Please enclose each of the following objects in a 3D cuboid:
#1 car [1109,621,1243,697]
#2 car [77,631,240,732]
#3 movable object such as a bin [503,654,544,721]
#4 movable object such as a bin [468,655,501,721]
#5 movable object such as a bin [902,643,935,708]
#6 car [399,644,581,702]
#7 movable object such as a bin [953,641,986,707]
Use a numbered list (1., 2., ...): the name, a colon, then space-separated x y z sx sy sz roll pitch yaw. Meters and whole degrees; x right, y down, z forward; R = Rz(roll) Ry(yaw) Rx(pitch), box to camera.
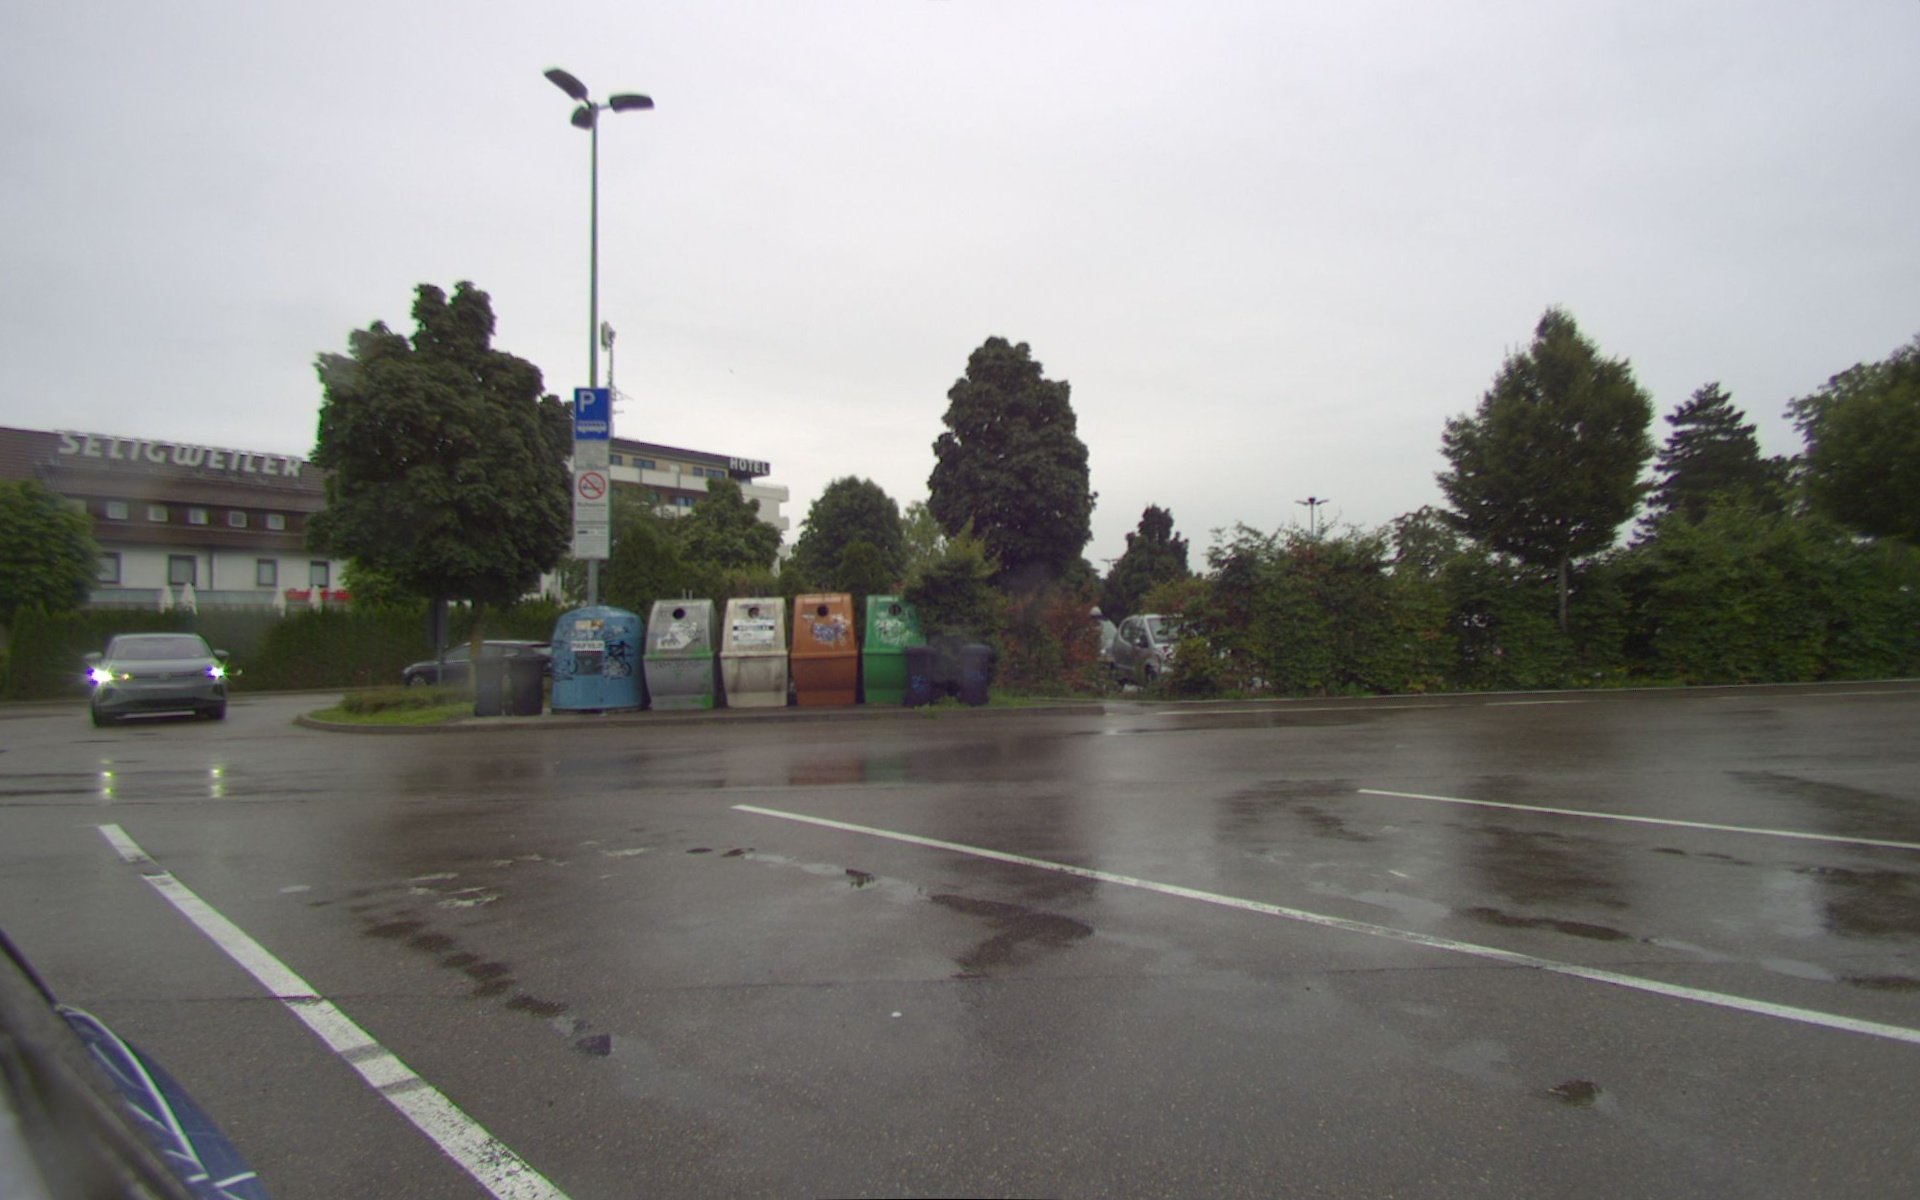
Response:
1. car: 4.081 1.086 19.714 1.782 1.278 3.647 -2 -1 0
2. car: -14.743 1.419 18.868 1.966 1.586 4.512 -1 -2 -33
3. movable object such as a bin: -6.563 1.305 15.211 0.450 0.956 0.400 -3 -2 41
4. movable object such as a bin: -7.175 1.319 15.266 0.427 0.956 0.474 -1 -1 -25
5. movable object such as a bin: -0.616 1.107 15.023 0.432 0.930 0.508 -2 -3 1
6. car: -12.995 2.015 28.071 4.279 1.460 1.865 -2 -3 8
7. movable object such as a bin: 0.134 1.073 14.755 0.432 0.923 0.509 -2 -3 -1
